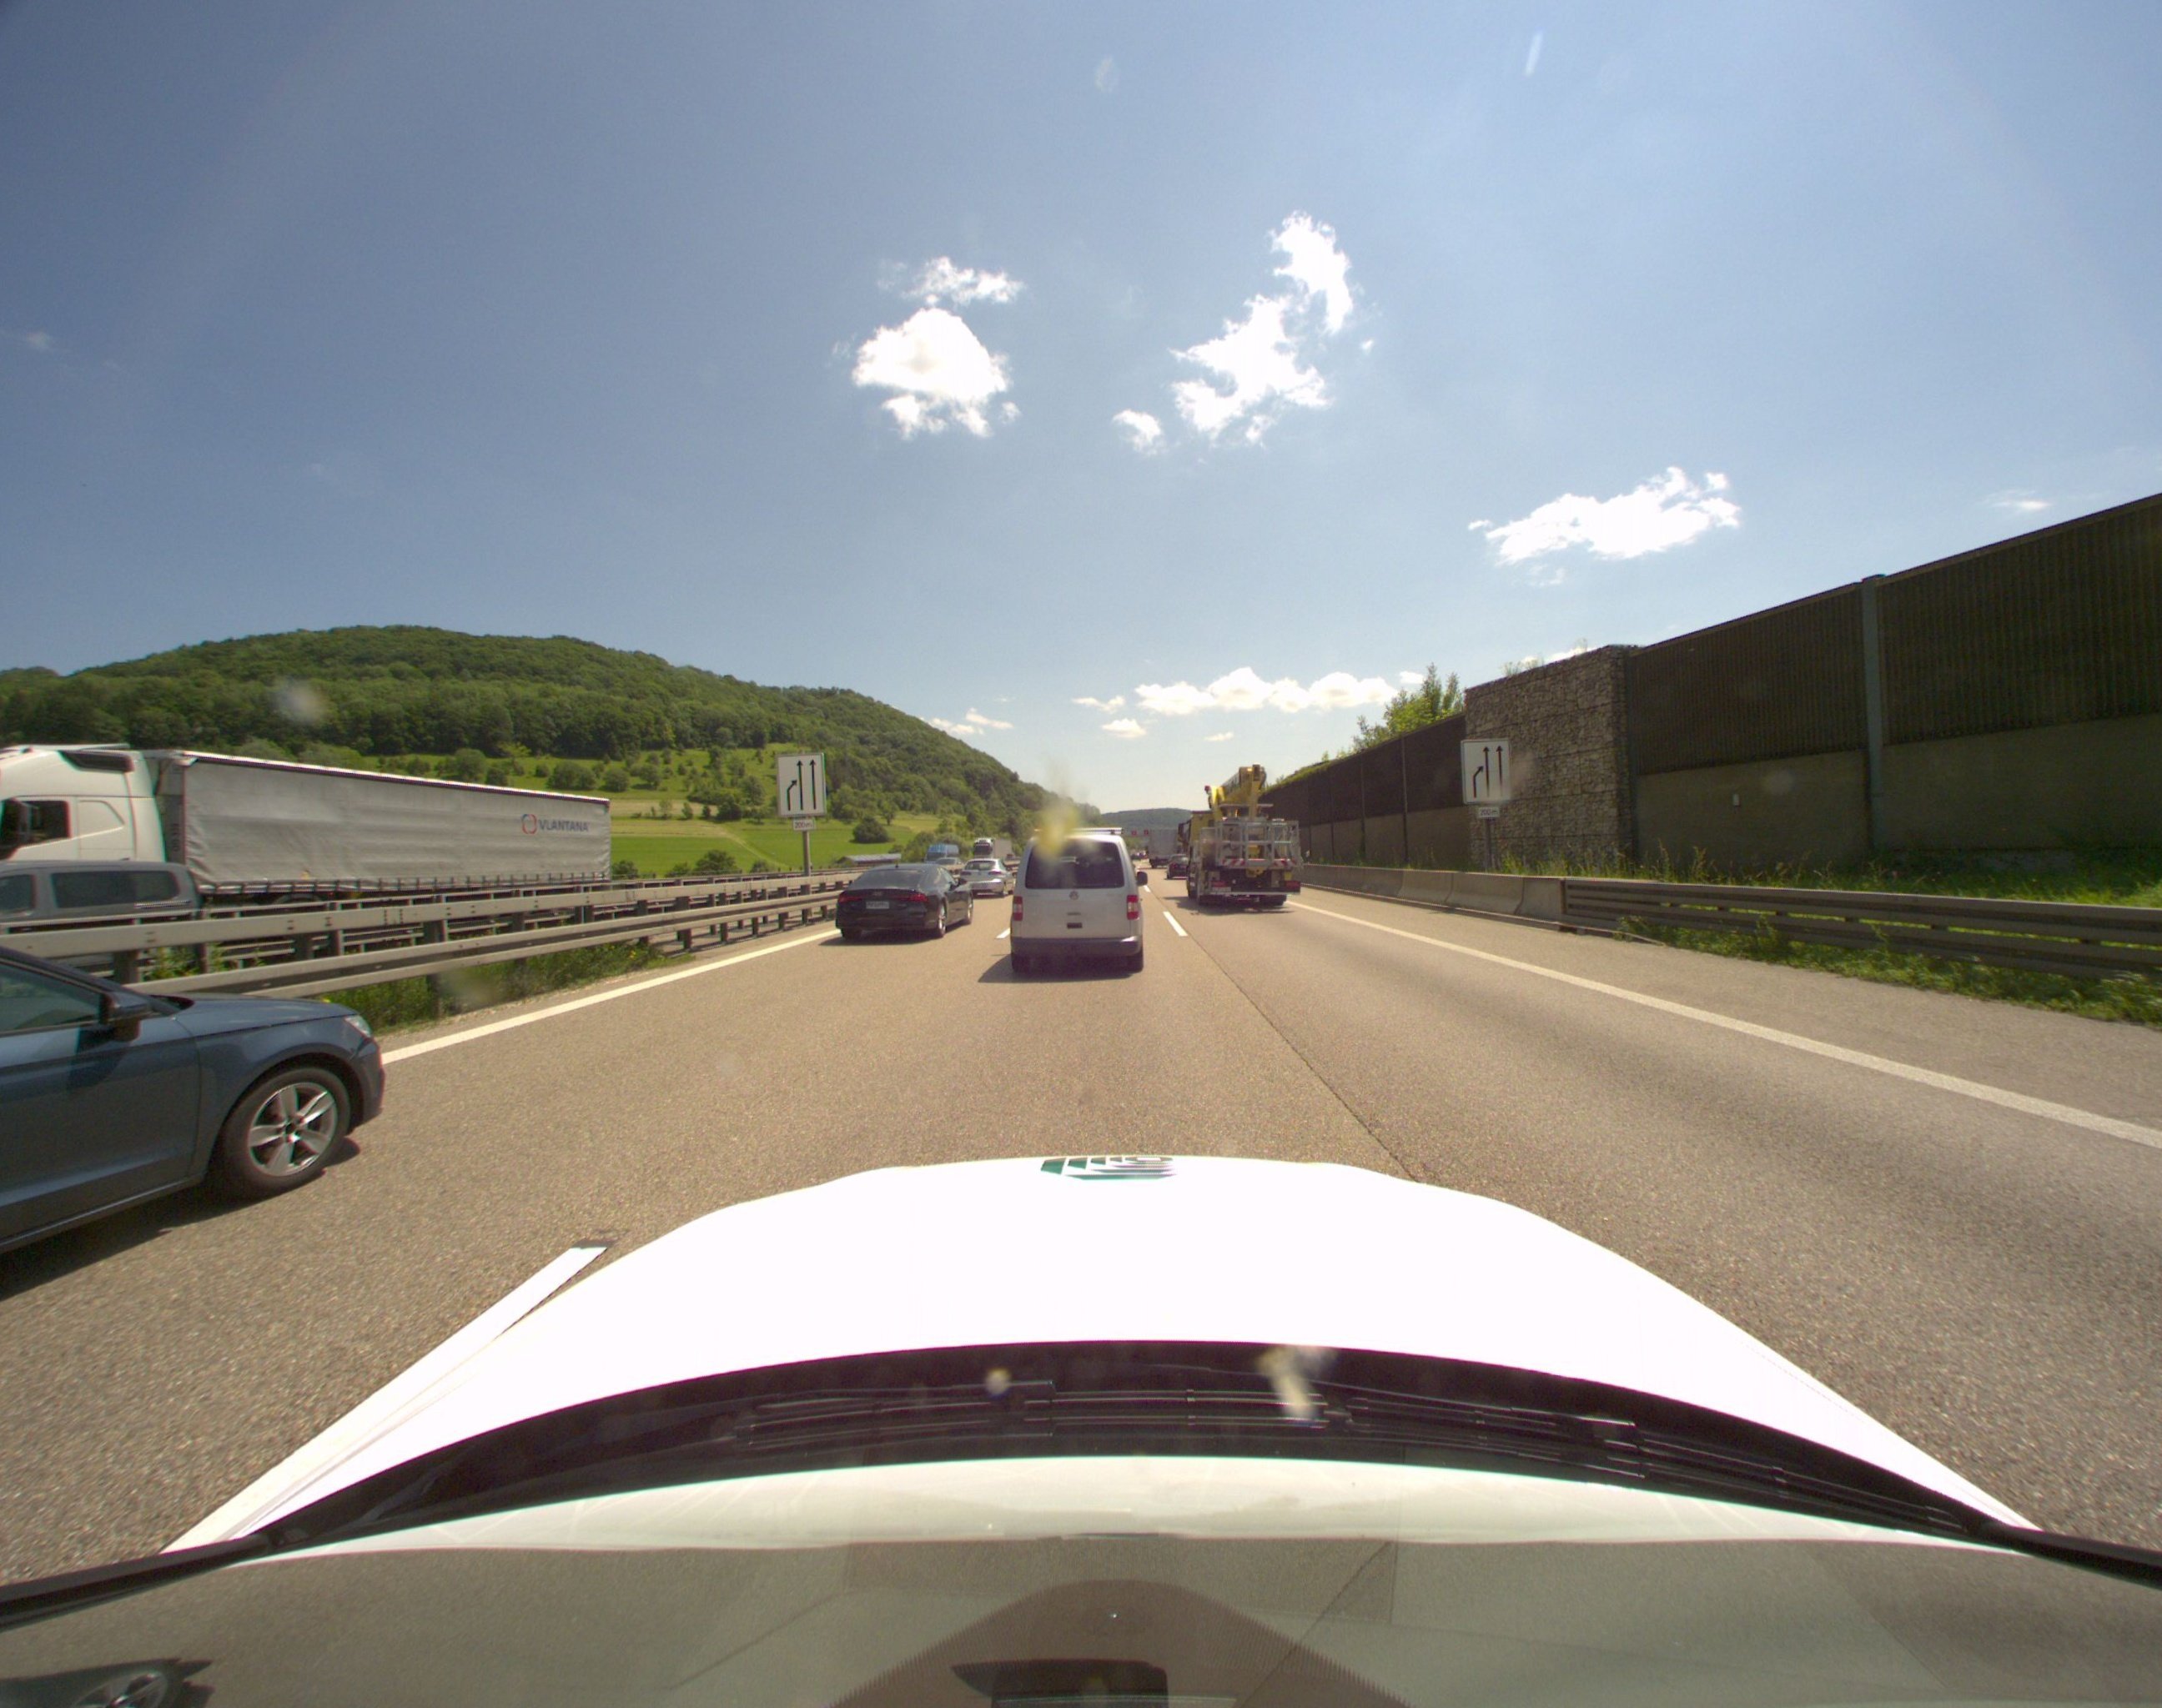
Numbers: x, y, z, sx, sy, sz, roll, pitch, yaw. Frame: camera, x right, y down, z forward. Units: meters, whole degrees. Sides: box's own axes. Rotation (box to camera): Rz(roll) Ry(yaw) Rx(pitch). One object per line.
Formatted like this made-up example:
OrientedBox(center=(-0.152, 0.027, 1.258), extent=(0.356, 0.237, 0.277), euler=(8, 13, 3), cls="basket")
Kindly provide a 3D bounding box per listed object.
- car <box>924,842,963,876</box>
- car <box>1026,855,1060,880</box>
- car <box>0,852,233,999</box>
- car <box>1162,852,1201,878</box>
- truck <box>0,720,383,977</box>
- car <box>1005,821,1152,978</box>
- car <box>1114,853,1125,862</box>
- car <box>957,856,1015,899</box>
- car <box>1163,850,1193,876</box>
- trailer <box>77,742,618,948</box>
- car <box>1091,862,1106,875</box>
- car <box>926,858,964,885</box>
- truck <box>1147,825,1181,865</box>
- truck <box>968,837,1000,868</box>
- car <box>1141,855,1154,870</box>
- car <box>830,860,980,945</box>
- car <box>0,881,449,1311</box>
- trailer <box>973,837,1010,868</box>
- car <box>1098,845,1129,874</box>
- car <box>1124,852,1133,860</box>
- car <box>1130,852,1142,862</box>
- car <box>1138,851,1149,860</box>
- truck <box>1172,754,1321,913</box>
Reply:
OrientedBox(center=(-12.270, 0.432, 72.959), extent=(2.147, 2.862, 6.402), euler=(0, -1, 2), cls="car")
OrientedBox(center=(-2.361, 0.792, 51.215), extent=(1.919, 1.499, 3.999), euler=(-1, 0, 0), cls="car")
OrientedBox(center=(-14.570, 0.907, 10.768), extent=(1.985, 1.853, 4.409), euler=(0, 0, 3), cls="car")
OrientedBox(center=(5.924, 0.637, 48.271), extent=(1.780, 1.458, 3.770), euler=(-1, 0, 0), cls="car")
OrientedBox(center=(-19.053, -0.057, 16.849), extent=(2.787, 4.232, 7.234), euler=(0, -1, 2), cls="truck")
OrientedBox(center=(-0.035, 0.558, 11.906), extent=(1.750, 1.868, 3.999), euler=(-1, 0, 0), cls="car")
OrientedBox(center=(7.577, 0.739, 160.734), extent=(2.108, 1.828, 3.999), euler=(0, -1, -1), cls="car")
OrientedBox(center=(-3.474, 0.838, 30.413), extent=(1.690, 1.445, 3.861), euler=(-1, 0, 0), cls="car")
OrientedBox(center=(7.778, 0.732, 65.867), extent=(1.986, 2.013, 4.001), euler=(-1, 0, 1), cls="car")
OrientedBox(center=(-18.795, -0.129, 23.390), extent=(2.844, 4.191, 13.620), euler=(0, -1, 2), cls="trailer")
OrientedBox(center=(2.685, 2.136, 121.690), extent=(2.106, 1.828, 4.002), euler=(0, -1, 2), cls="car")
OrientedBox(center=(-9.336, 1.158, 56.260), extent=(1.840, 1.709, 4.283), euler=(-1, 0, 0), cls="car")
OrientedBox(center=(8.231, -0.813, 81.585), extent=(2.929, 3.823, 8.241), euler=(0, -1, 2), cls="truck")
OrientedBox(center=(-13.263, -0.183, 112.177), extent=(3.265, 4.148, 6.959), euler=(-1, -1, 2), cls="truck")
OrientedBox(center=(10.383, 1.364, 127.500), extent=(1.667, 2.295, 4.001), euler=(0, -1, 1), cls="car")
OrientedBox(center=(-3.359, 0.857, 16.574), extent=(1.794, 1.390, 4.971), euler=(-1, 0, 2), cls="car")
OrientedBox(center=(-4.512, 0.870, 2.665), extent=(1.682, 1.388, 4.001), euler=(-1, 0, 1), cls="car")
OrientedBox(center=(-12.894, -0.167, 118.065), extent=(3.233, 4.204, 13.009), euler=(0, -1, 3), cls="trailer")
OrientedBox(center=(2.278, 0.364, 57.715), extent=(1.987, 1.975, 3.999), euler=(-1, 0, 0), cls="car")
OrientedBox(center=(10.808, 0.504, 186.073), extent=(1.986, 1.805, 4.000), euler=(0, -1, 1), cls="car")
OrientedBox(center=(9.510, 0.541, 140.799), extent=(1.985, 1.749, 4.003), euler=(0, -1, 3), cls="car")
OrientedBox(center=(12.829, 0.313, 167.431), extent=(2.108, 1.828, 3.999), euler=(0, -1, -1), cls="car")
OrientedBox(center=(4.650, -0.517, 24.824), extent=(2.695, 3.942, 8.720), euler=(-1, 0, 0), cls="truck")
